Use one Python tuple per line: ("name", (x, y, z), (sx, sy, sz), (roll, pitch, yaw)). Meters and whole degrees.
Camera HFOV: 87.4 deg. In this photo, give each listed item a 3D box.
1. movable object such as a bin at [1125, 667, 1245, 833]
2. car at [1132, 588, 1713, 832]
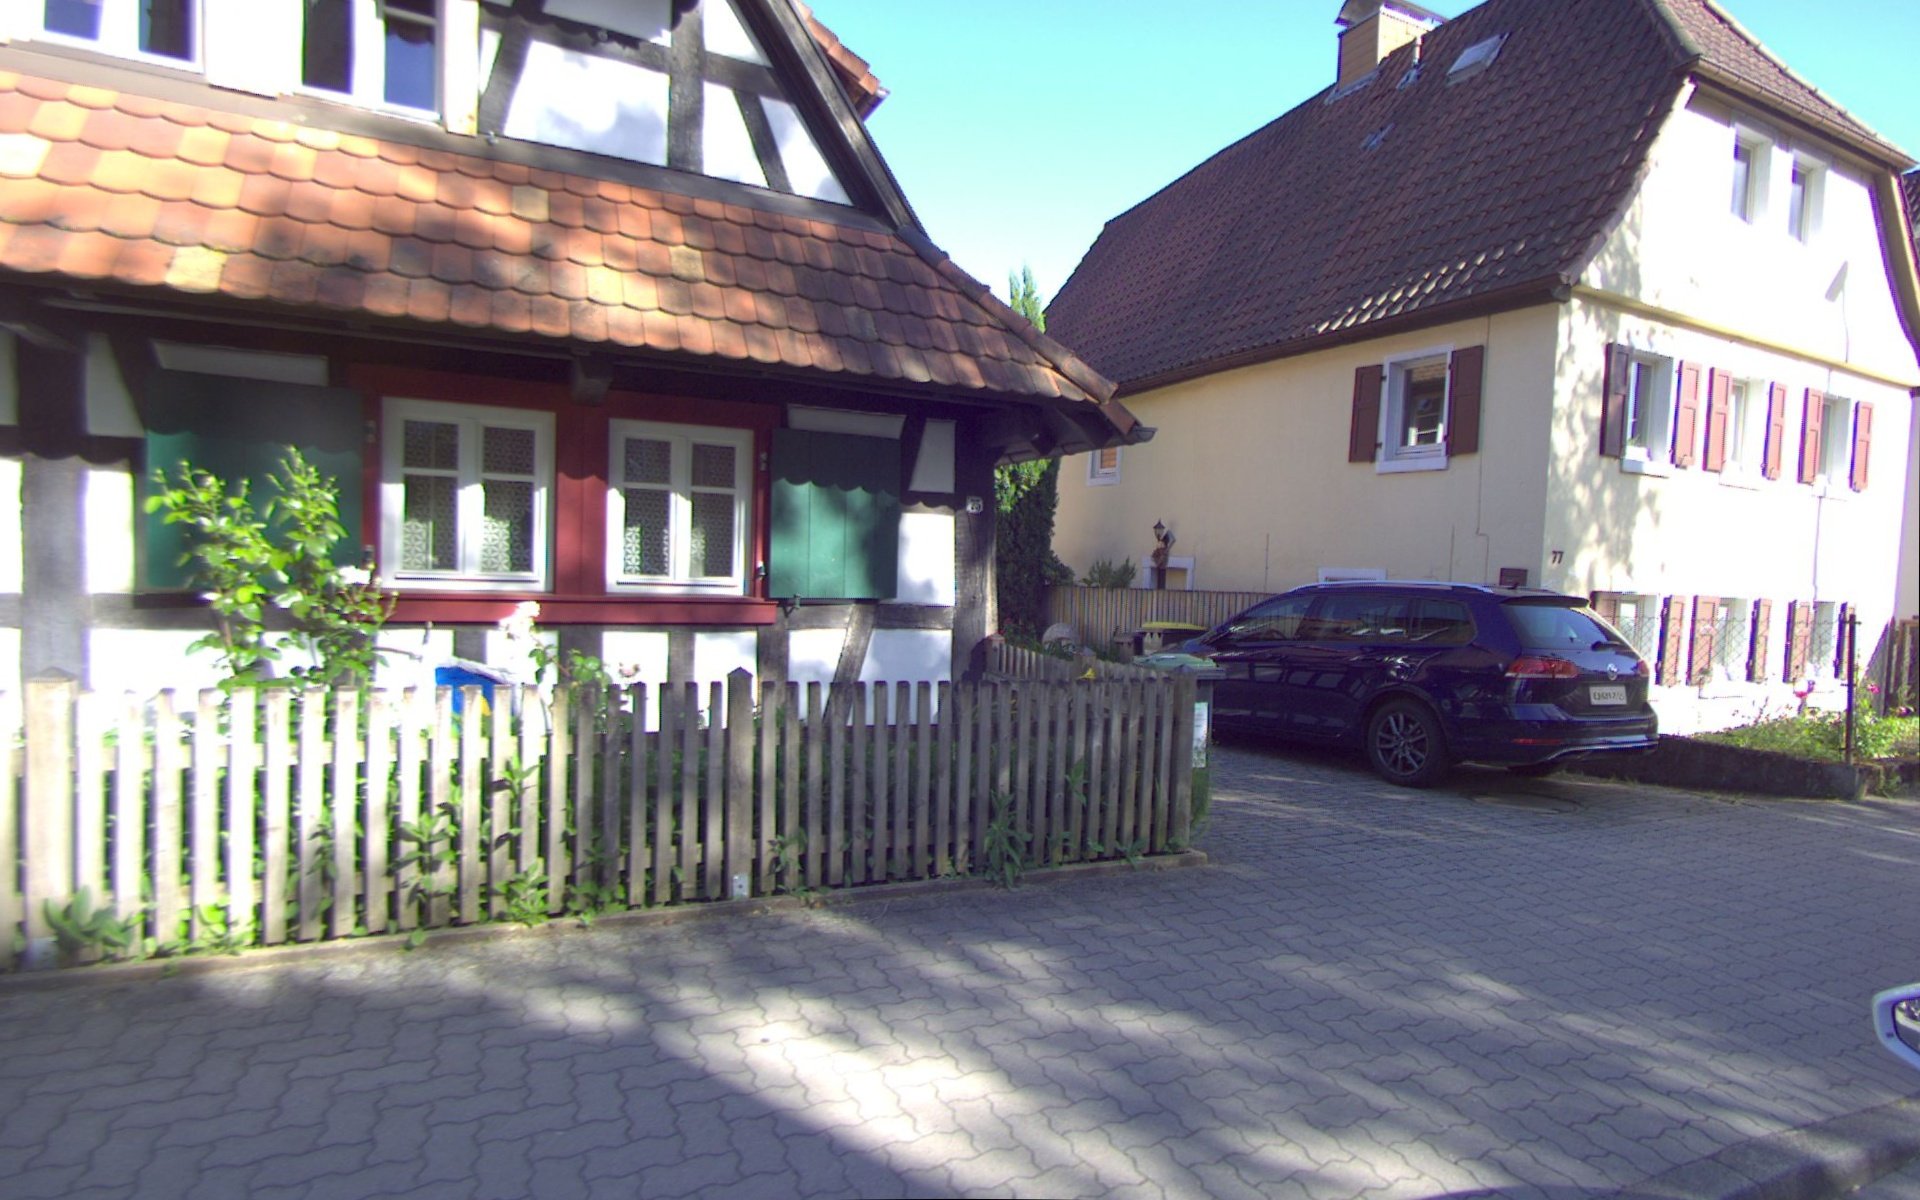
("movable object such as a bin", (1.340, 0.882, 6.057), (0.545, 0.910, 0.585), (1, 0, -4))
("car", (3.454, 0.664, 8.371), (1.826, 1.481, 4.140), (1, 0, -29))
